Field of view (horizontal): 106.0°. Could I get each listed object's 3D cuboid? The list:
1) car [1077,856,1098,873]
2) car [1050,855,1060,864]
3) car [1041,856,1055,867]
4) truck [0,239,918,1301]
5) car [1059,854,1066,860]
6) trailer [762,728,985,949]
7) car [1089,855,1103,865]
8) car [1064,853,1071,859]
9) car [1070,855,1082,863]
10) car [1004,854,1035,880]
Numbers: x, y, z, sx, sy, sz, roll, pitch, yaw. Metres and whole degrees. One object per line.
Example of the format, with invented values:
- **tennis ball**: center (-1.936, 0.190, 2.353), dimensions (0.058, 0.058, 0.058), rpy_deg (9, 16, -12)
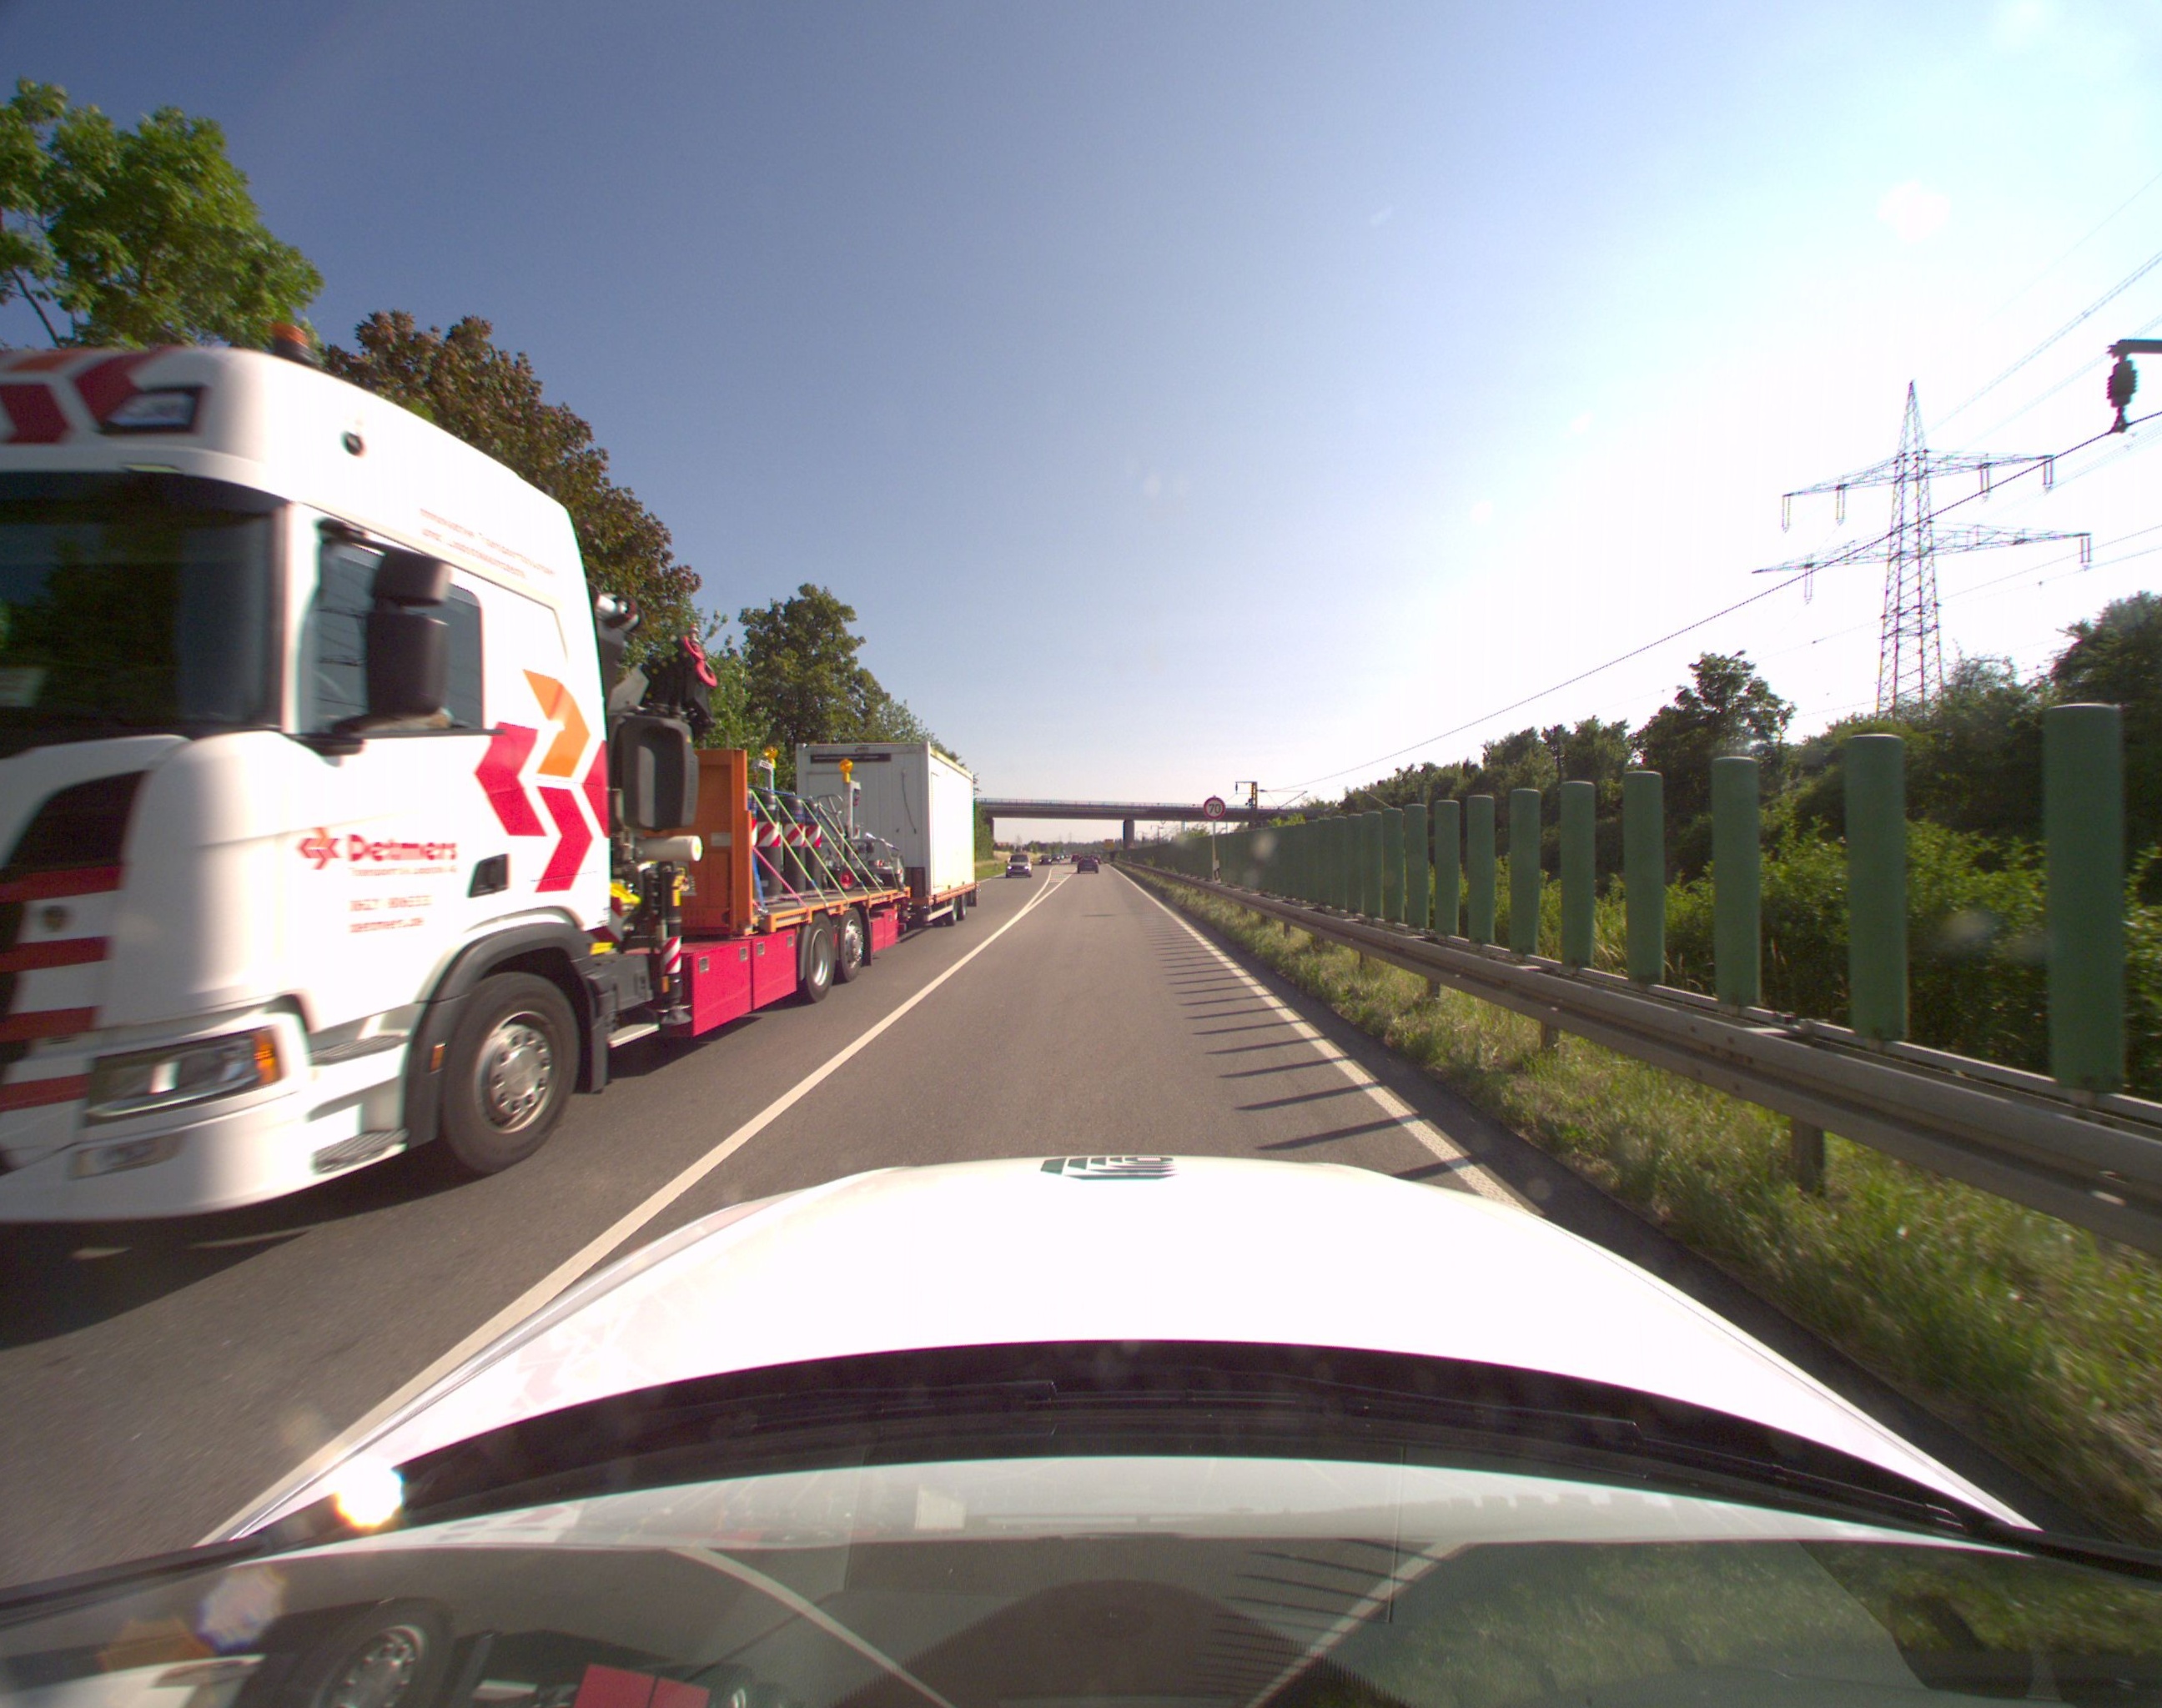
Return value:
- **car**: center (0.527, 0.837, 64.475), dimensions (1.658, 1.261, 4.000), rpy_deg (-1, 0, 1)
- **car**: center (-4.897, 0.966, 153.302), dimensions (1.917, 1.593, 4.426), rpy_deg (-1, 0, -2)
- **car**: center (-4.590, 1.024, 113.995), dimensions (1.745, 1.481, 3.998), rpy_deg (-1, 0, -1)
- **truck**: center (-4.029, -0.301, 8.073), dimensions (2.551, 3.688, 10.488), rpy_deg (-1, 0, 1)
- **car**: center (-4.643, 0.727, 203.532), dimensions (1.840, 1.630, 3.998), rpy_deg (-1, 0, -1)
- **trailer**: center (-3.904, -0.265, 17.543), dimensions (2.551, 3.595, 8.293), rpy_deg (-1, 0, 1)
- **car**: center (2.039, 0.847, 113.610), dimensions (1.888, 1.418, 4.000), rpy_deg (-1, 0, 1)
- **car**: center (-4.028, 0.664, 247.689), dimensions (1.888, 1.630, 4.000), rpy_deg (-1, 0, 1)
- **car**: center (-0.812, 0.832, 140.925), dimensions (1.888, 1.418, 4.000), rpy_deg (-1, 0, 1)
- **car**: center (-4.082, 0.838, 54.530), dimensions (1.851, 1.559, 3.998), rpy_deg (-1, 0, -1)
